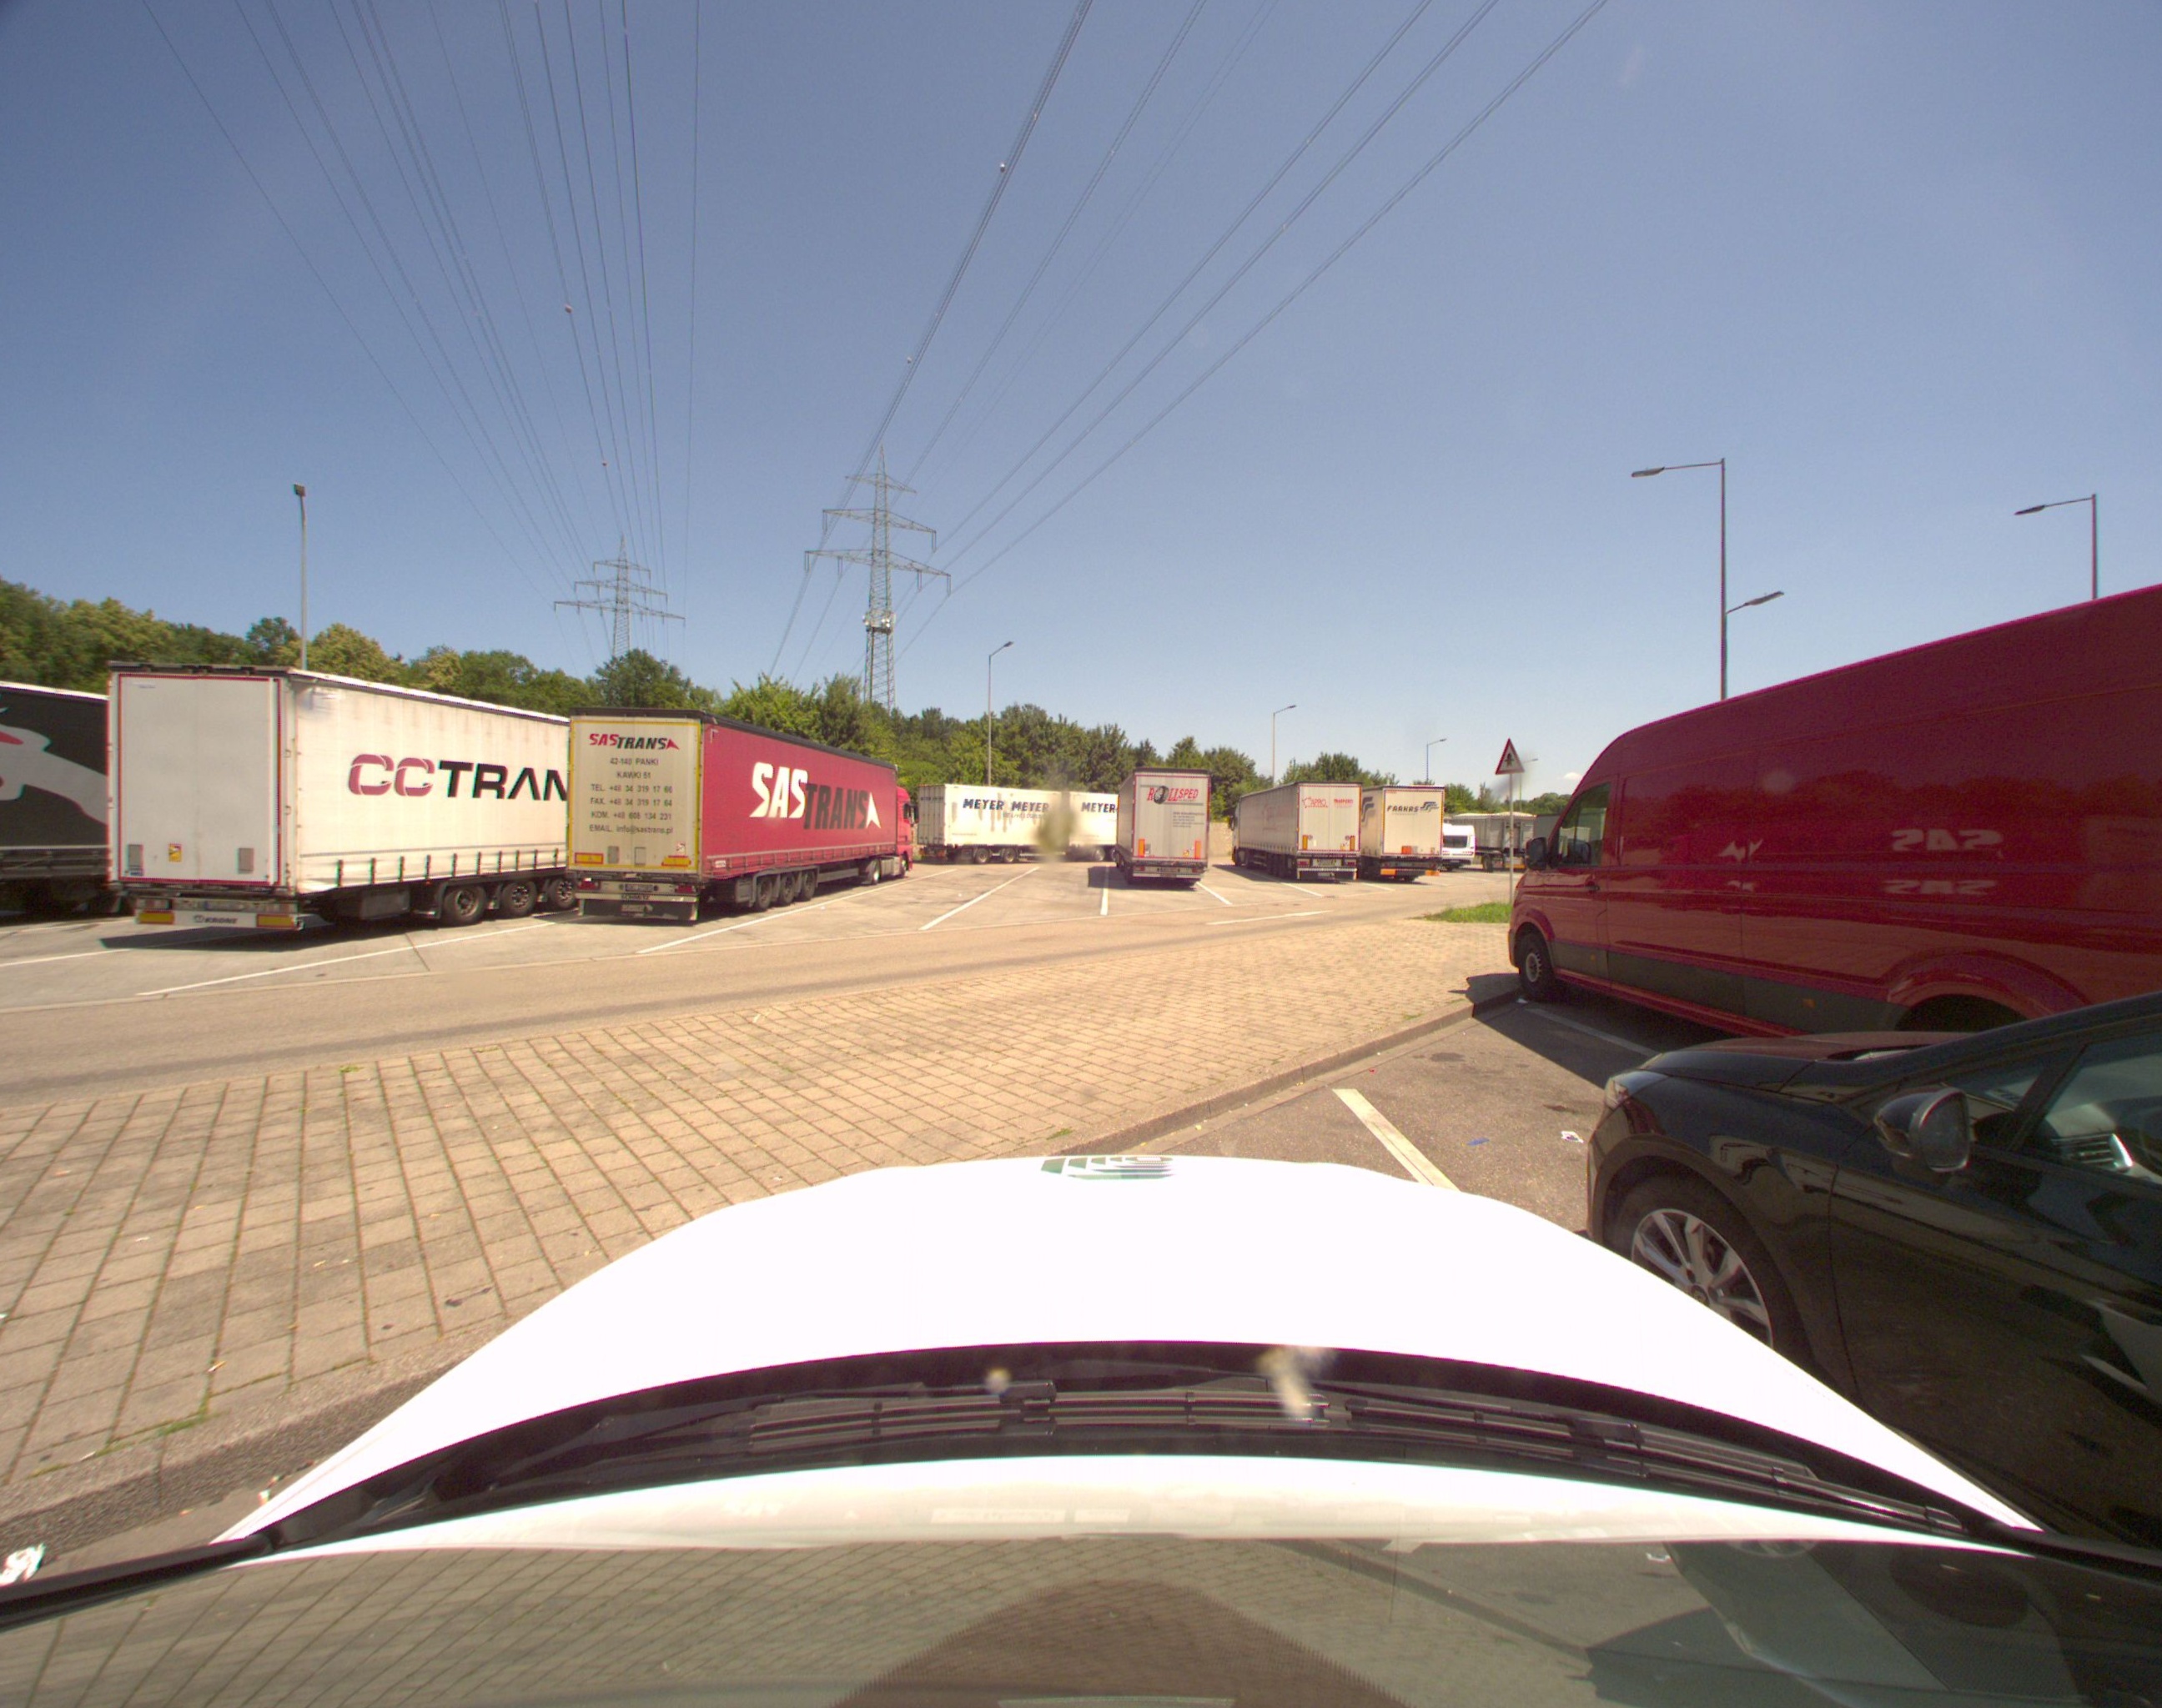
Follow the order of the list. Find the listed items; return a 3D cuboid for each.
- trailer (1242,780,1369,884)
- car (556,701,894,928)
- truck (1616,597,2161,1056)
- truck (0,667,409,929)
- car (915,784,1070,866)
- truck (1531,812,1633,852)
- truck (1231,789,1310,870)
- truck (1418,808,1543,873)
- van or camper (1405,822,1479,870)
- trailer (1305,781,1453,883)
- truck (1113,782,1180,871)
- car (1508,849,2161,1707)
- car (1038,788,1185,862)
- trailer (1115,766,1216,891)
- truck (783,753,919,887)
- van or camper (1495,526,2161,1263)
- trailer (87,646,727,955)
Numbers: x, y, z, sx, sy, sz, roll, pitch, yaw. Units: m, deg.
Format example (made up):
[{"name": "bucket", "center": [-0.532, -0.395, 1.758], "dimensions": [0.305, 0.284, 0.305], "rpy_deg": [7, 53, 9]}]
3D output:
[{"name": "trailer", "center": [9.964, -1.100, 37.890], "dimensions": [2.856, 4.037, 12.445], "rpy_deg": [1, 2, 2]}, {"name": "car", "center": [-8.040, -0.937, 21.422], "dimensions": [2.686, 4.112, 12.943], "rpy_deg": [1, 2, 2]}, {"name": "truck", "center": [7.946, -0.208, 7.053], "dimensions": [2.455, 2.792, 6.978], "rpy_deg": [0, 1, 4]}, {"name": "truck", "center": [-18.609, -1.029, 16.260], "dimensions": [2.803, 4.190, 8.793], "rpy_deg": [1, 2, 2]}, {"name": "car", "center": [-4.653, -1.551, 44.469], "dimensions": [8.516, 4.043, 2.656], "rpy_deg": [-1, 3, -44]}, {"name": "truck", "center": [38.046, -1.631, 62.365], "dimensions": [2.117, 2.820, 9.783], "rpy_deg": [-1, 1, 2]}, {"name": "truck", "center": [10.190, -1.364, 44.522], "dimensions": [2.856, 4.037, 6.960], "rpy_deg": [1, 2, 2]}, {"name": "truck", "center": [24.311, -0.948, 50.488], "dimensions": [2.478, 3.568, 11.429], "rpy_deg": [1, 2, 2]}, {"name": "van or camper", "center": [20.601, -0.458, 46.729], "dimensions": [2.096, 2.561, 5.376], "rpy_deg": [-1, 1, 3]}, {"name": "trailer", "center": [13.651, -1.118, 38.865], "dimensions": [2.856, 4.037, 12.445], "rpy_deg": [1, 2, 2]}, {"name": "truck", "center": [3.149, -1.392, 40.806], "dimensions": [2.857, 4.037, 7.029], "rpy_deg": [0, 2, 1]}, {"name": "car", "center": [2.461, 0.756, 1.130], "dimensions": [1.612, 1.483, 3.762], "rpy_deg": [-1, 1, -4]}, {"name": "car", "center": [2.150, -1.767, 50.954], "dimensions": [10.274, 4.188, 2.656], "rpy_deg": [-1, 3, -43]}, {"name": "trailer", "center": [3.055, -1.103, 33.718], "dimensions": [2.857, 4.037, 14.244], "rpy_deg": [0, 2, 1]}, {"name": "truck", "center": [-7.740, -1.155, 28.339], "dimensions": [2.686, 4.112, 6.243], "rpy_deg": [1, 2, 2]}, {"name": "van or camper", "center": [5.146, 0.102, 5.481], "dimensions": [1.986, 2.654, 6.490], "rpy_deg": [-1, 1, 6]}, {"name": "trailer", "center": [-12.154, -0.979, 17.779], "dimensions": [2.803, 4.266, 12.947], "rpy_deg": [1, 2, 2]}]
